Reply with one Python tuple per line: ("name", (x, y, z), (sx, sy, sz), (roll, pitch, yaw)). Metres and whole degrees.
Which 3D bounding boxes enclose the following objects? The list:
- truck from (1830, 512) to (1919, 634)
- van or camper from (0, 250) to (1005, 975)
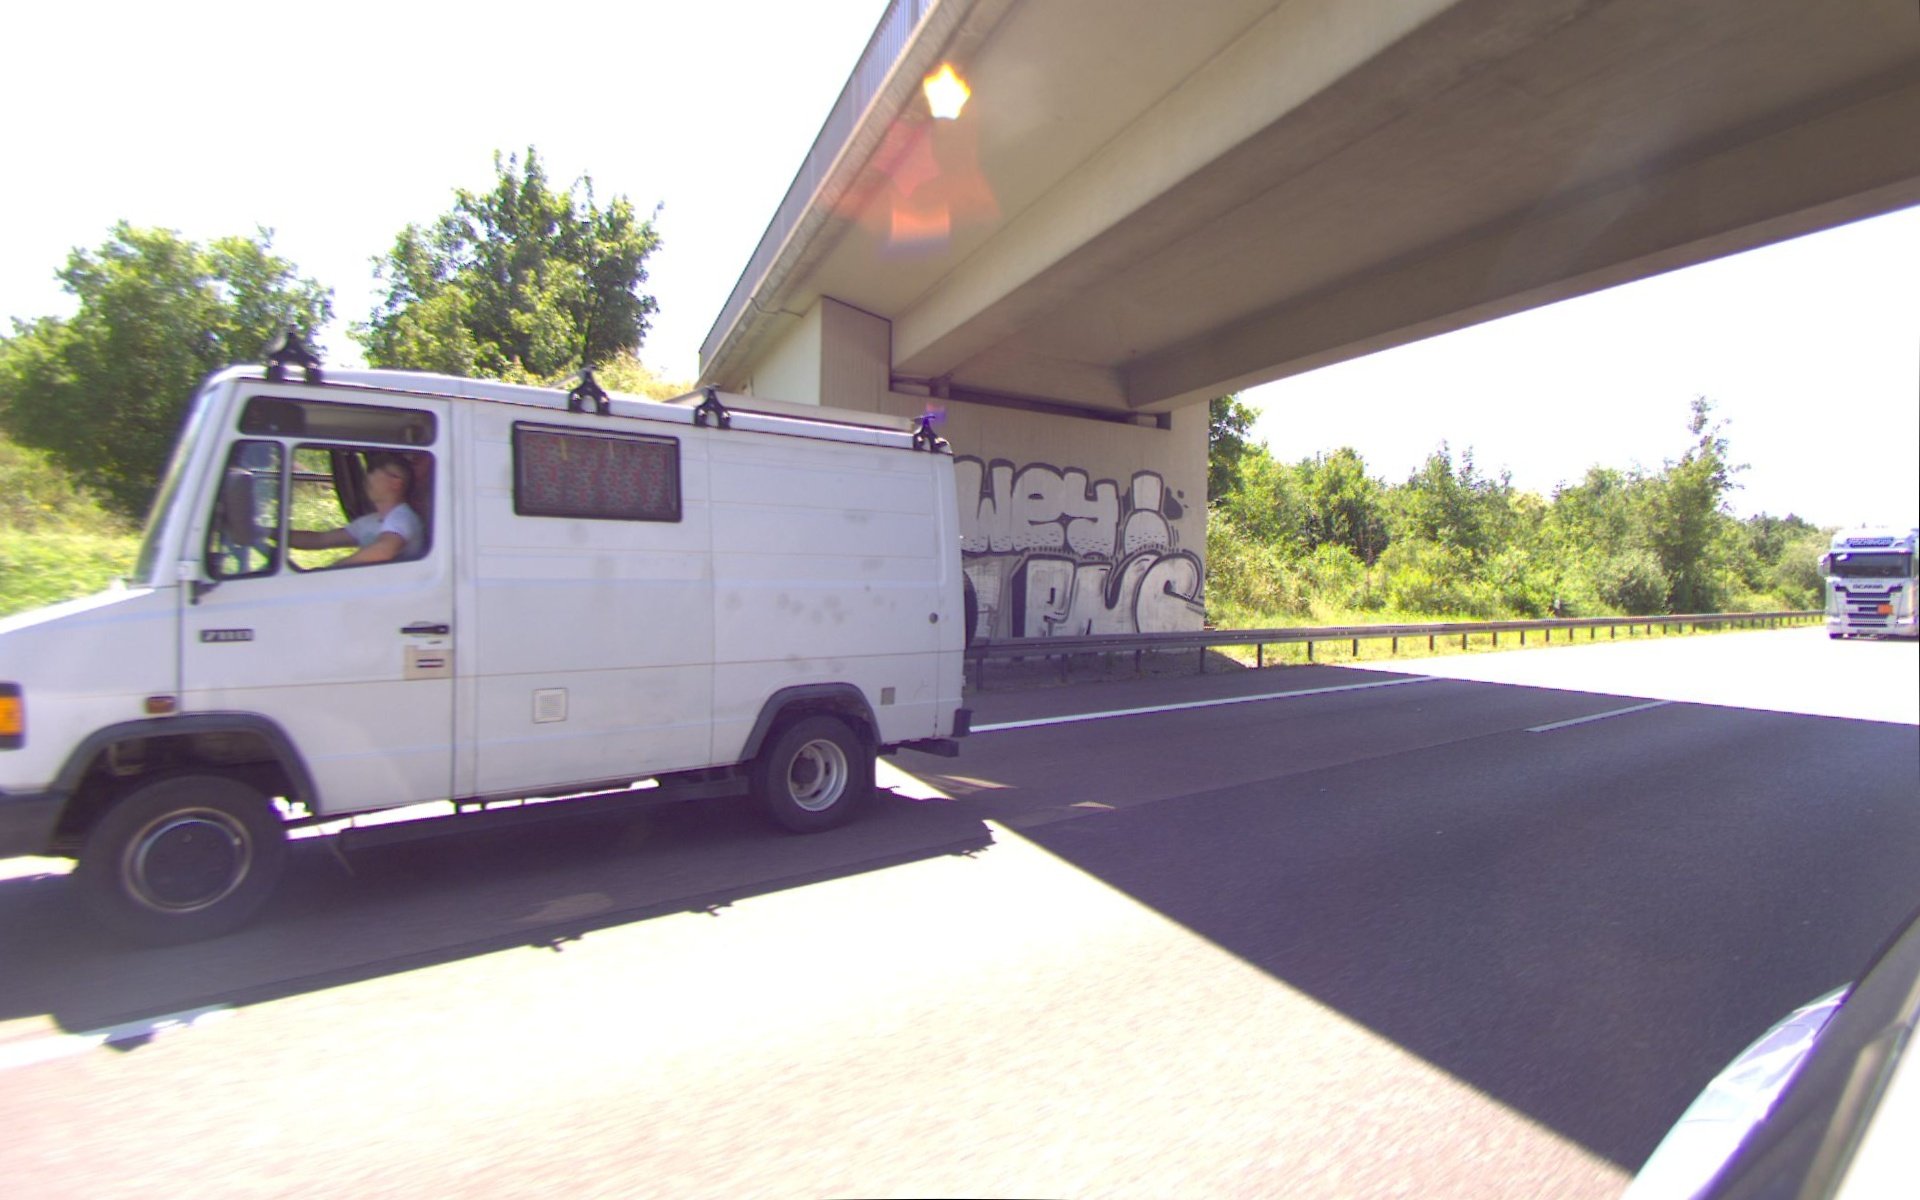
("truck", (36.785, -0.970, 39.113), (13.120, 4.097, 2.803), (-1, 0, -41))
("van or camper", (-2.732, 0.019, 5.981), (6.255, 2.737, 2.117), (-1, 1, -40))
